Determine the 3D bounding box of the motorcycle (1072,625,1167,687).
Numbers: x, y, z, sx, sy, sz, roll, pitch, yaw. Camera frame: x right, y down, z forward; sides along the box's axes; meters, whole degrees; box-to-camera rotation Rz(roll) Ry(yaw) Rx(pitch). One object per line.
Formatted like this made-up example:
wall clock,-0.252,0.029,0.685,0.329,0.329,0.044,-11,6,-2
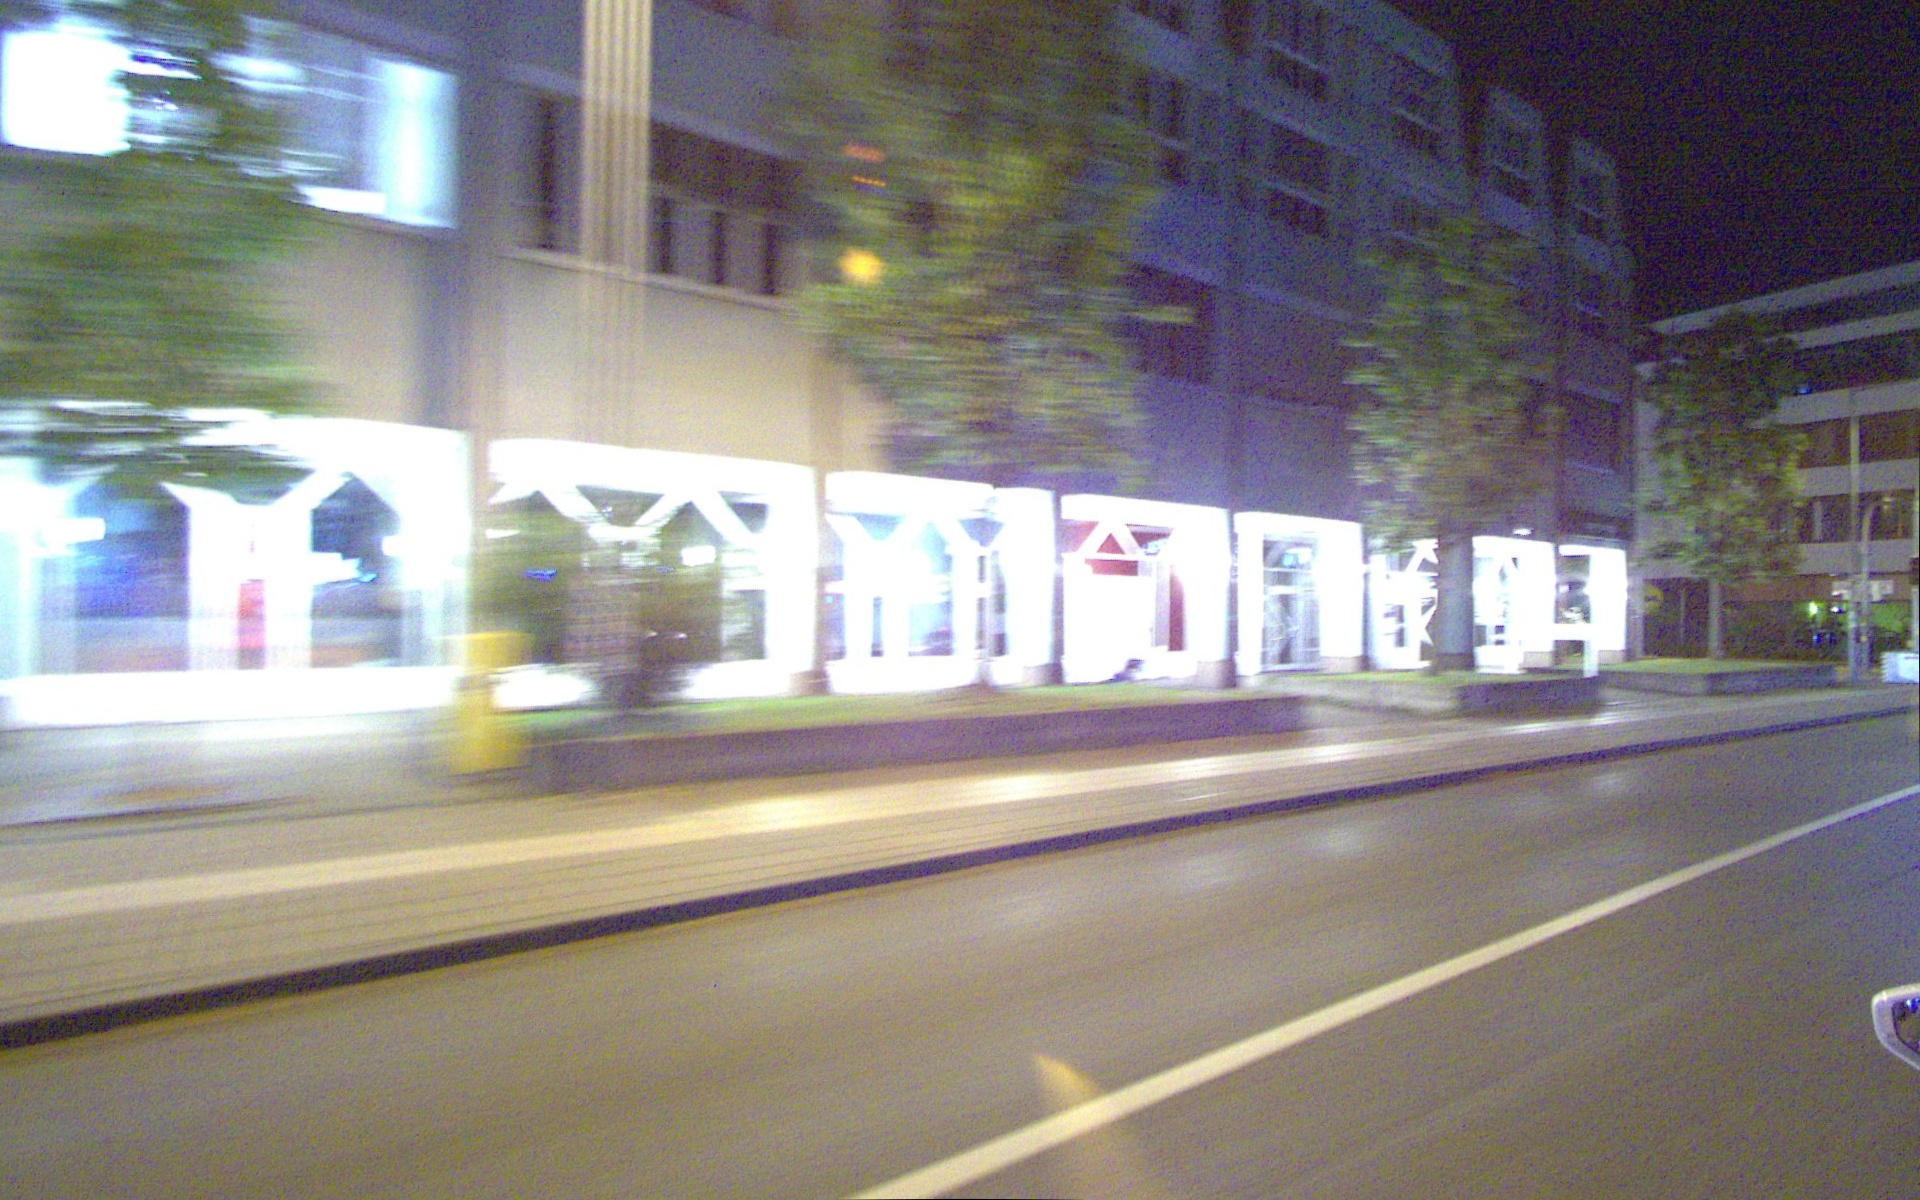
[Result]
motorcycle,2.801,0.964,17.562,1.652,1.034,0.477,1,-1,-25
